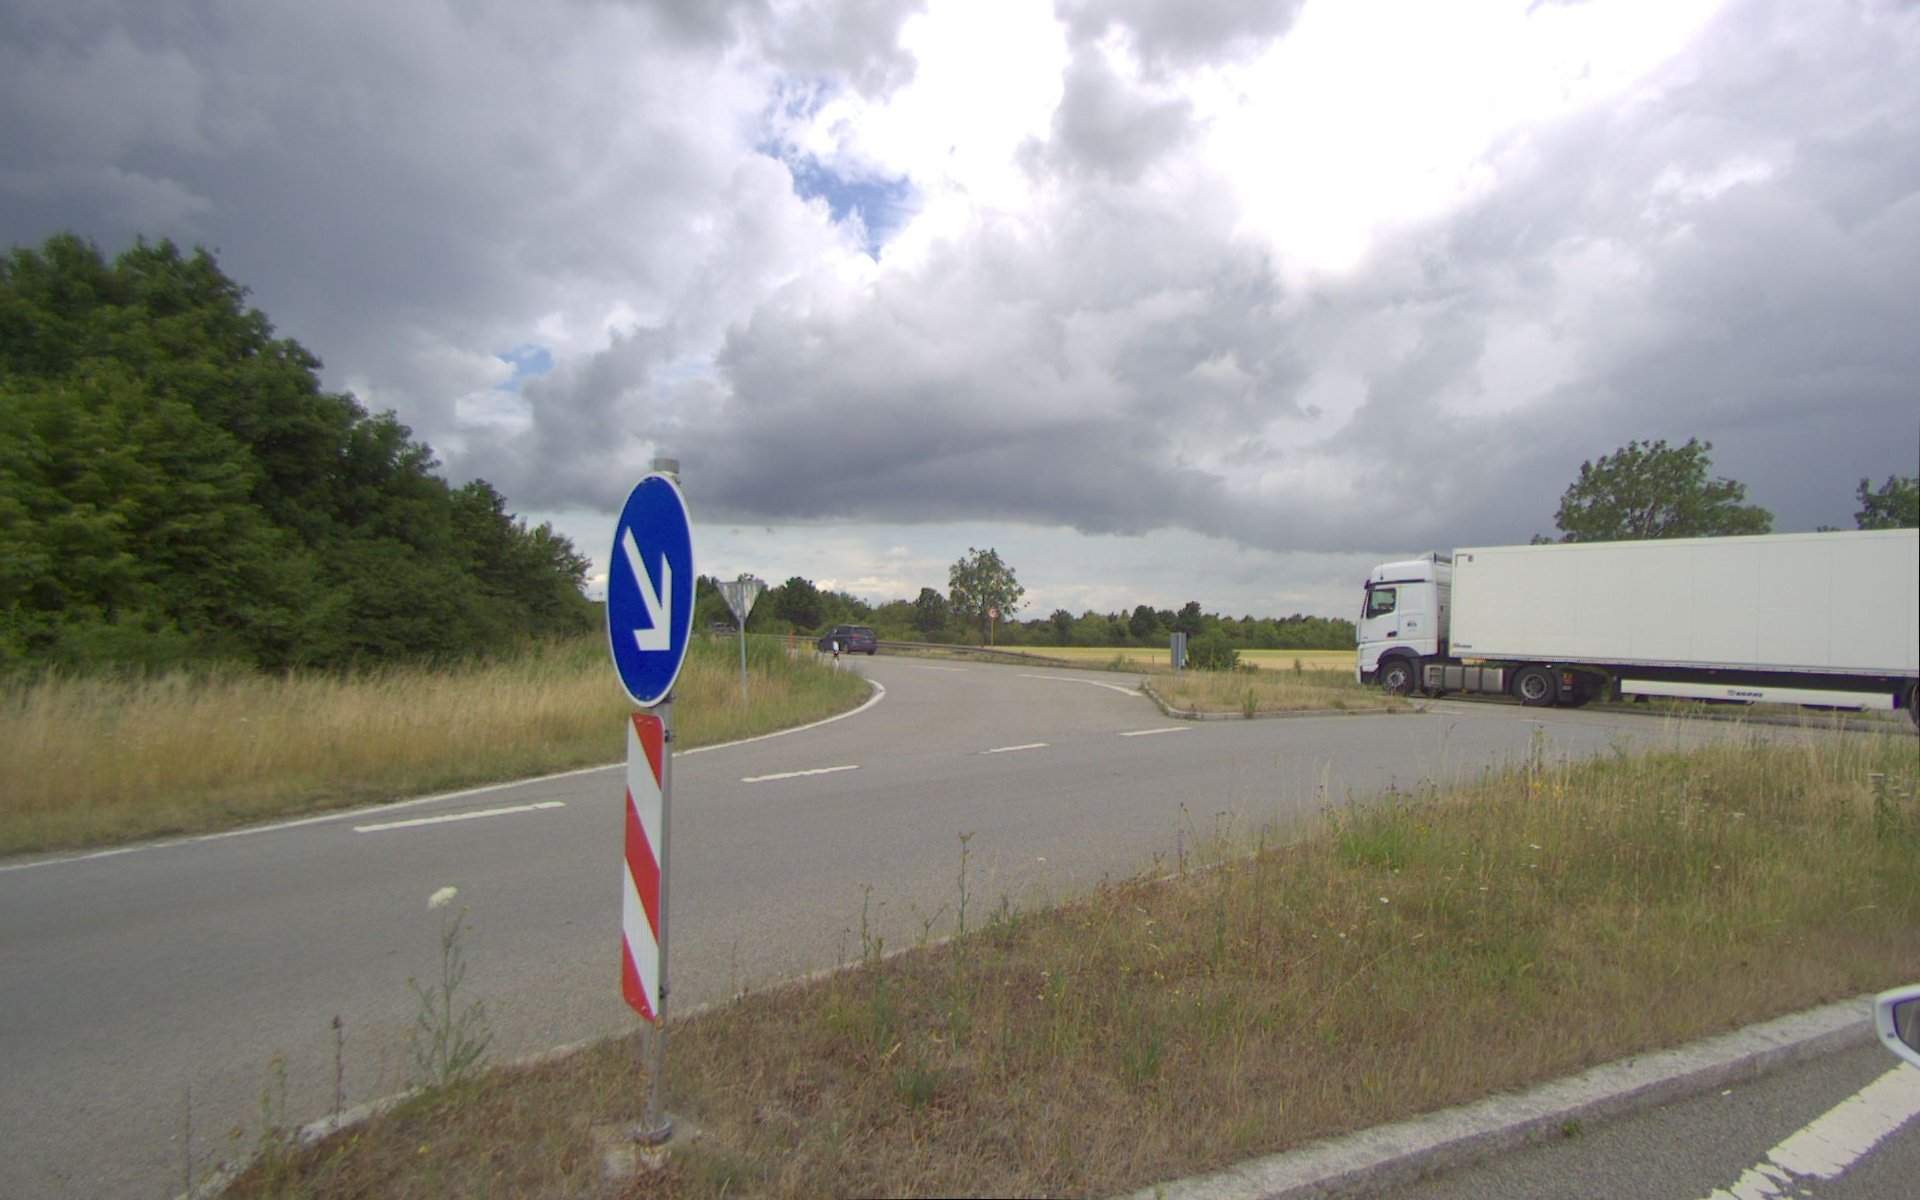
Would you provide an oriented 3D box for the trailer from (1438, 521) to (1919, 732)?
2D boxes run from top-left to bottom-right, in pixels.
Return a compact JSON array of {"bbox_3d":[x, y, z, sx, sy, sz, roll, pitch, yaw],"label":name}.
[{"bbox_3d":[18.171,0.628,22.353,3.100,4.066,13.742,4,-3,-36],"label":"trailer"}]

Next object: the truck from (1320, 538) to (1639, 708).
[{"bbox_3d":[14.123,0.681,27.900,3.100,4.066,7.231,4,-3,-37],"label":"truck"}]

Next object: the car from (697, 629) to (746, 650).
[{"bbox_3d":[-16.323,2.692,68.660,1.666,1.362,4.310,2,-2,-37],"label":"car"}]

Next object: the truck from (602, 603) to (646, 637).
[{"bbox_3d":[-28.760,1.740,85.802,2.045,2.739,5.986,1,-2,-34],"label":"truck"}]

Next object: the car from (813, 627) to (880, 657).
[{"bbox_3d":[-6.284,2.321,55.416,1.980,1.622,4.184,1,-3,-34],"label":"car"}]
